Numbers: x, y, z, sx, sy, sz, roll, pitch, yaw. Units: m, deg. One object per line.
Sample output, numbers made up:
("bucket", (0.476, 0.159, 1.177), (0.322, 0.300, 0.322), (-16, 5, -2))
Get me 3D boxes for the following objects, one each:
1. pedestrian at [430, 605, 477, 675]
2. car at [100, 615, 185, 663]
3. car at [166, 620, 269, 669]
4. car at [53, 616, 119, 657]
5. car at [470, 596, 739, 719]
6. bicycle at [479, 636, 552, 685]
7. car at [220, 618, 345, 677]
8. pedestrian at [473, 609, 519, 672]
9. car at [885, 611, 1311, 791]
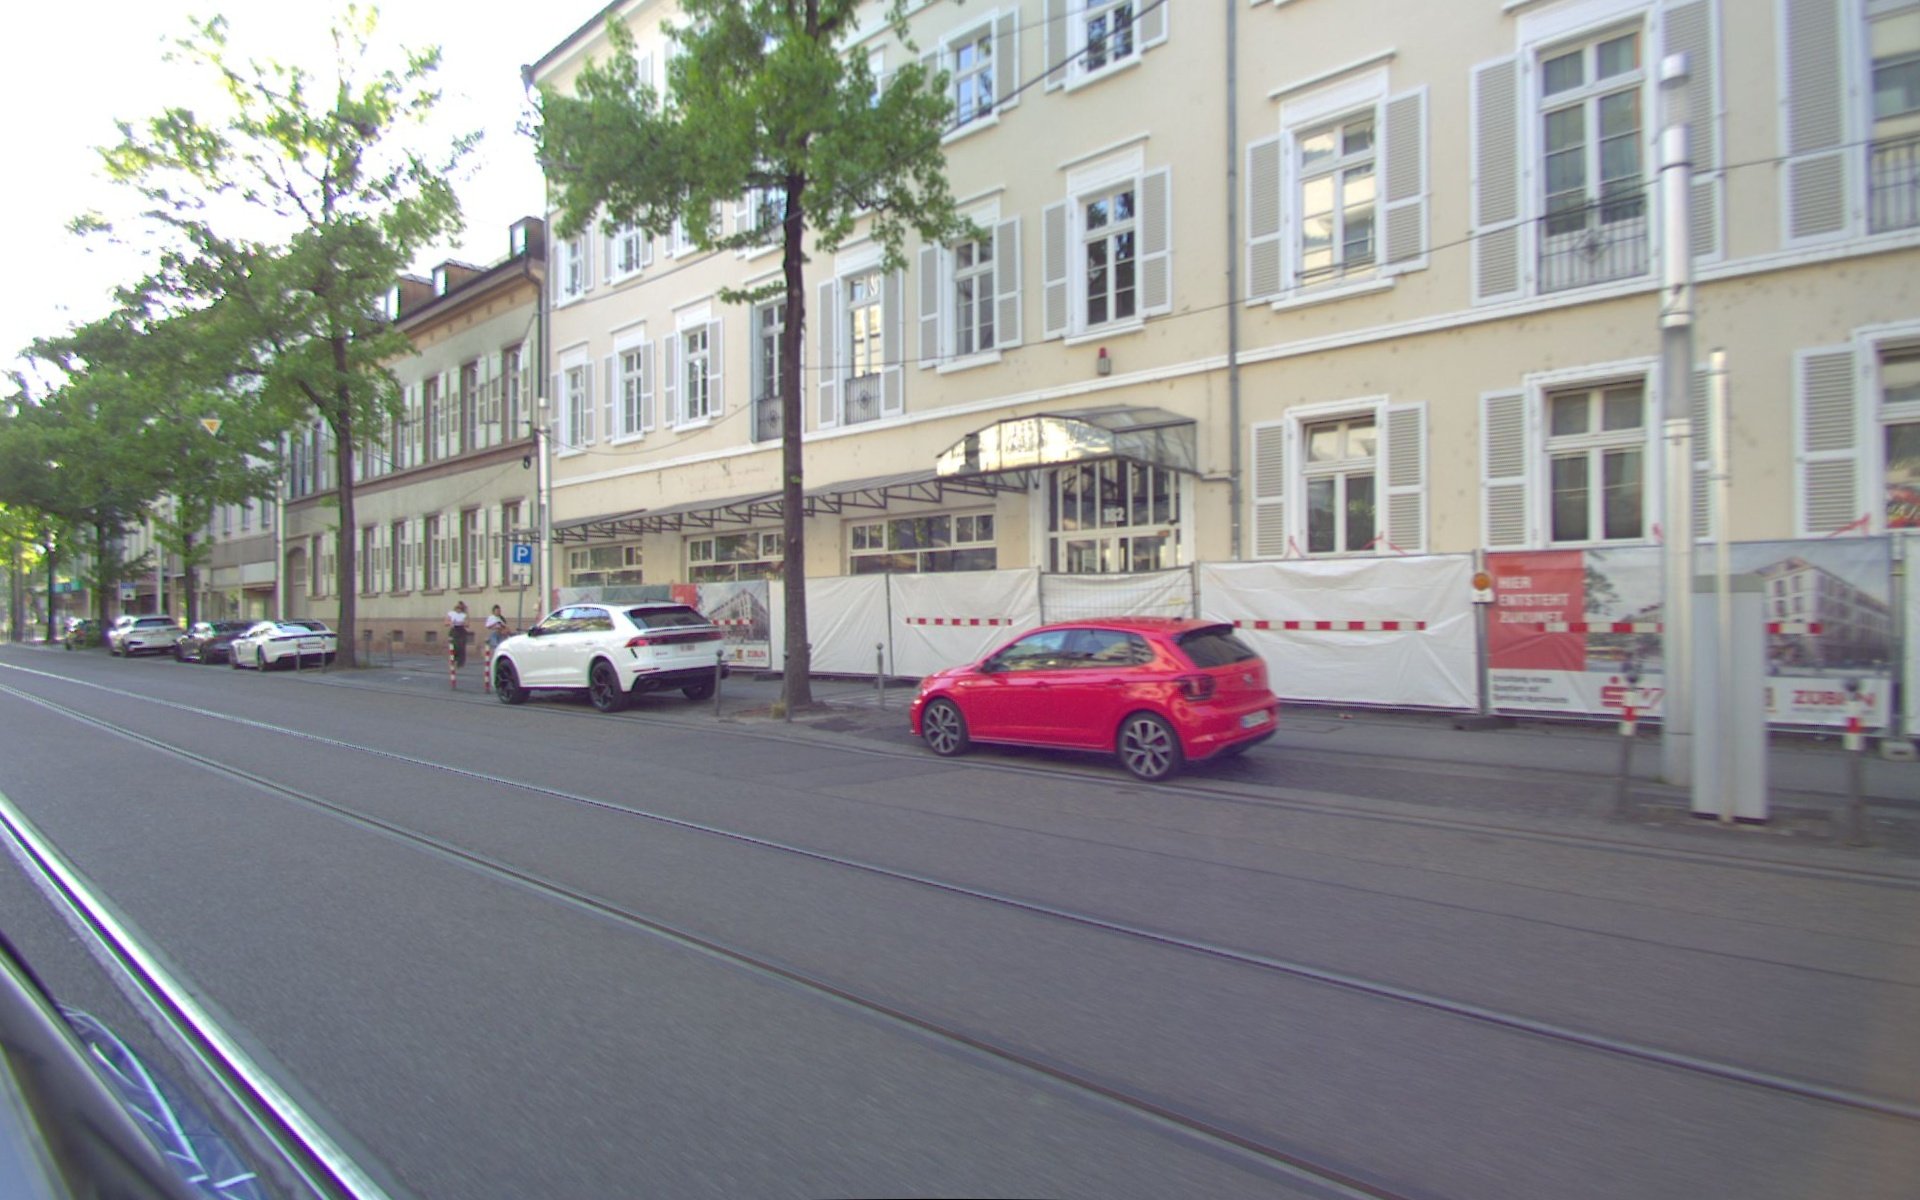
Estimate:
("pedestrian", (-13.072, 1.021, 26.138), (0.933, 1.755, 0.736), (-1, 1, 42))
("car", (-34.042, 1.598, 42.105), (4.763, 1.754, 1.927), (-2, 1, 41))
("car", (-25.327, 1.498, 34.458), (4.337, 1.477, 1.724), (-2, 1, 39))
("car", (-45.043, 1.865, 52.110), (4.763, 1.972, 1.907), (-2, -2, 41))
("car", (-6.056, 0.883, 16.948), (4.945, 1.701, 1.848), (-1, 2, 38))
("bicycle", (-9.804, 1.308, 22.284), (1.892, 0.982, 0.620), (-1, 1, 38))
("car", (-19.617, 1.327, 29.236), (4.615, 1.477, 1.873), (-2, 1, 42))
("pedestrian", (-12.273, 1.068, 26.744), (0.933, 1.592, 0.736), (-1, 1, 41))
("car", (1.268, 0.885, 10.470), (4.140, 1.416, 1.642), (-1, 2, 42))
